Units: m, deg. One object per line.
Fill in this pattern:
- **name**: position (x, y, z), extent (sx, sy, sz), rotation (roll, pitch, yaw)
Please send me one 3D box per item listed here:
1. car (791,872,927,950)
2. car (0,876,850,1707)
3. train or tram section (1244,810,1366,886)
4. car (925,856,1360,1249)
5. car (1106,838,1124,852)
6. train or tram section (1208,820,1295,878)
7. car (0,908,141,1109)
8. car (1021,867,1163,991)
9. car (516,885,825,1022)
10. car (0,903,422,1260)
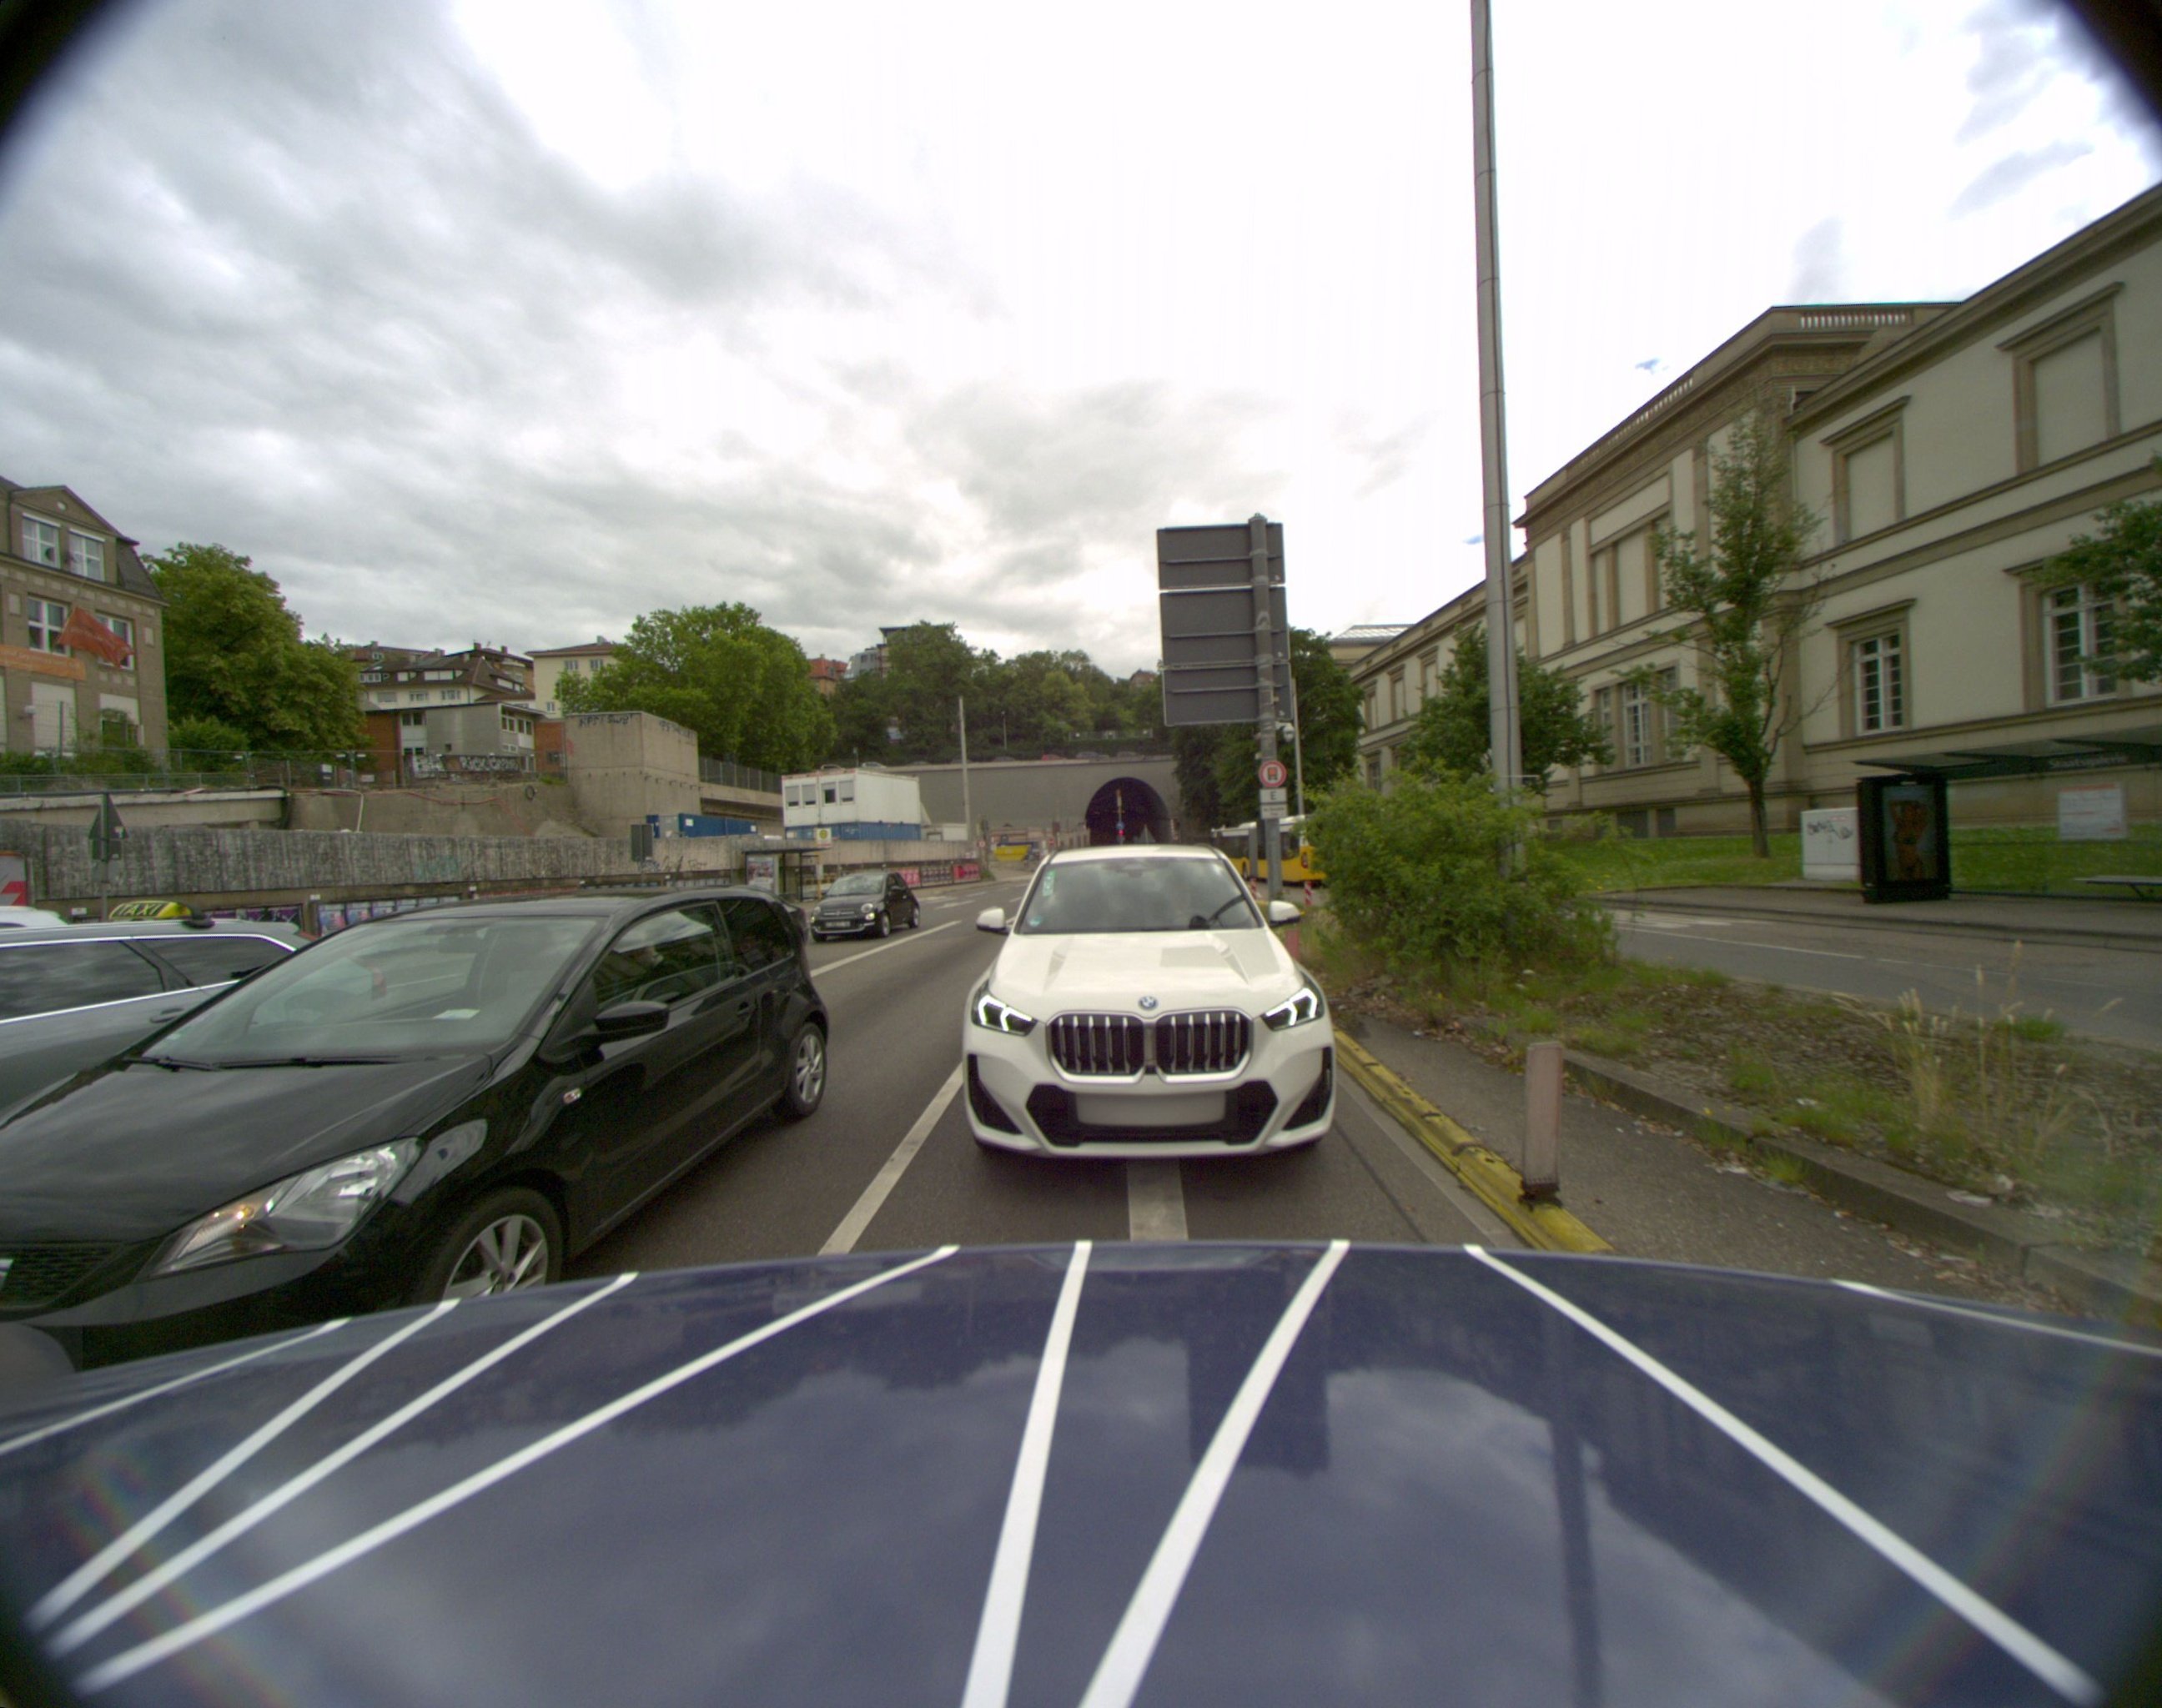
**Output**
- **car**: position (-4.964, 1.221, 17.537), extent (1.720, 1.450, 3.782), rotation (-3, 0, 4)
- **car**: position (-2.530, 0.977, 3.280), extent (1.661, 1.547, 3.911), rotation (-2, 1, 3)
- **train or tram section**: position (10.075, -0.256, 35.452), extent (2.701, 3.053, 9.335), rotation (-1, 0, -2)
- **car**: position (0.339, 0.847, 5.127), extent (1.756, 1.547, 3.911), rotation (-2, 1, 3)
- **car**: position (3.989, -1.109, 89.767), extent (1.948, 1.565, 3.999), rotation (-2, 1, 1)
- **train or tram section**: position (9.788, -0.266, 44.804), extent (2.701, 3.053, 9.374), rotation (-1, 0, -2)
- **car**: position (-9.151, 1.257, 4.584), extent (1.826, 1.457, 4.073), rotation (-2, 1, 0)
- **car**: position (0.221, 0.989, 11.603), extent (1.756, 1.427, 3.911), rotation (-2, 0, 3)
- **car**: position (-5.400, 1.224, 10.766), extent (1.826, 1.356, 4.219), rotation (-2, 0, 4)
- **car**: position (-5.825, 1.142, 3.460), extent (1.826, 1.457, 4.217), rotation (-2, 1, 2)
